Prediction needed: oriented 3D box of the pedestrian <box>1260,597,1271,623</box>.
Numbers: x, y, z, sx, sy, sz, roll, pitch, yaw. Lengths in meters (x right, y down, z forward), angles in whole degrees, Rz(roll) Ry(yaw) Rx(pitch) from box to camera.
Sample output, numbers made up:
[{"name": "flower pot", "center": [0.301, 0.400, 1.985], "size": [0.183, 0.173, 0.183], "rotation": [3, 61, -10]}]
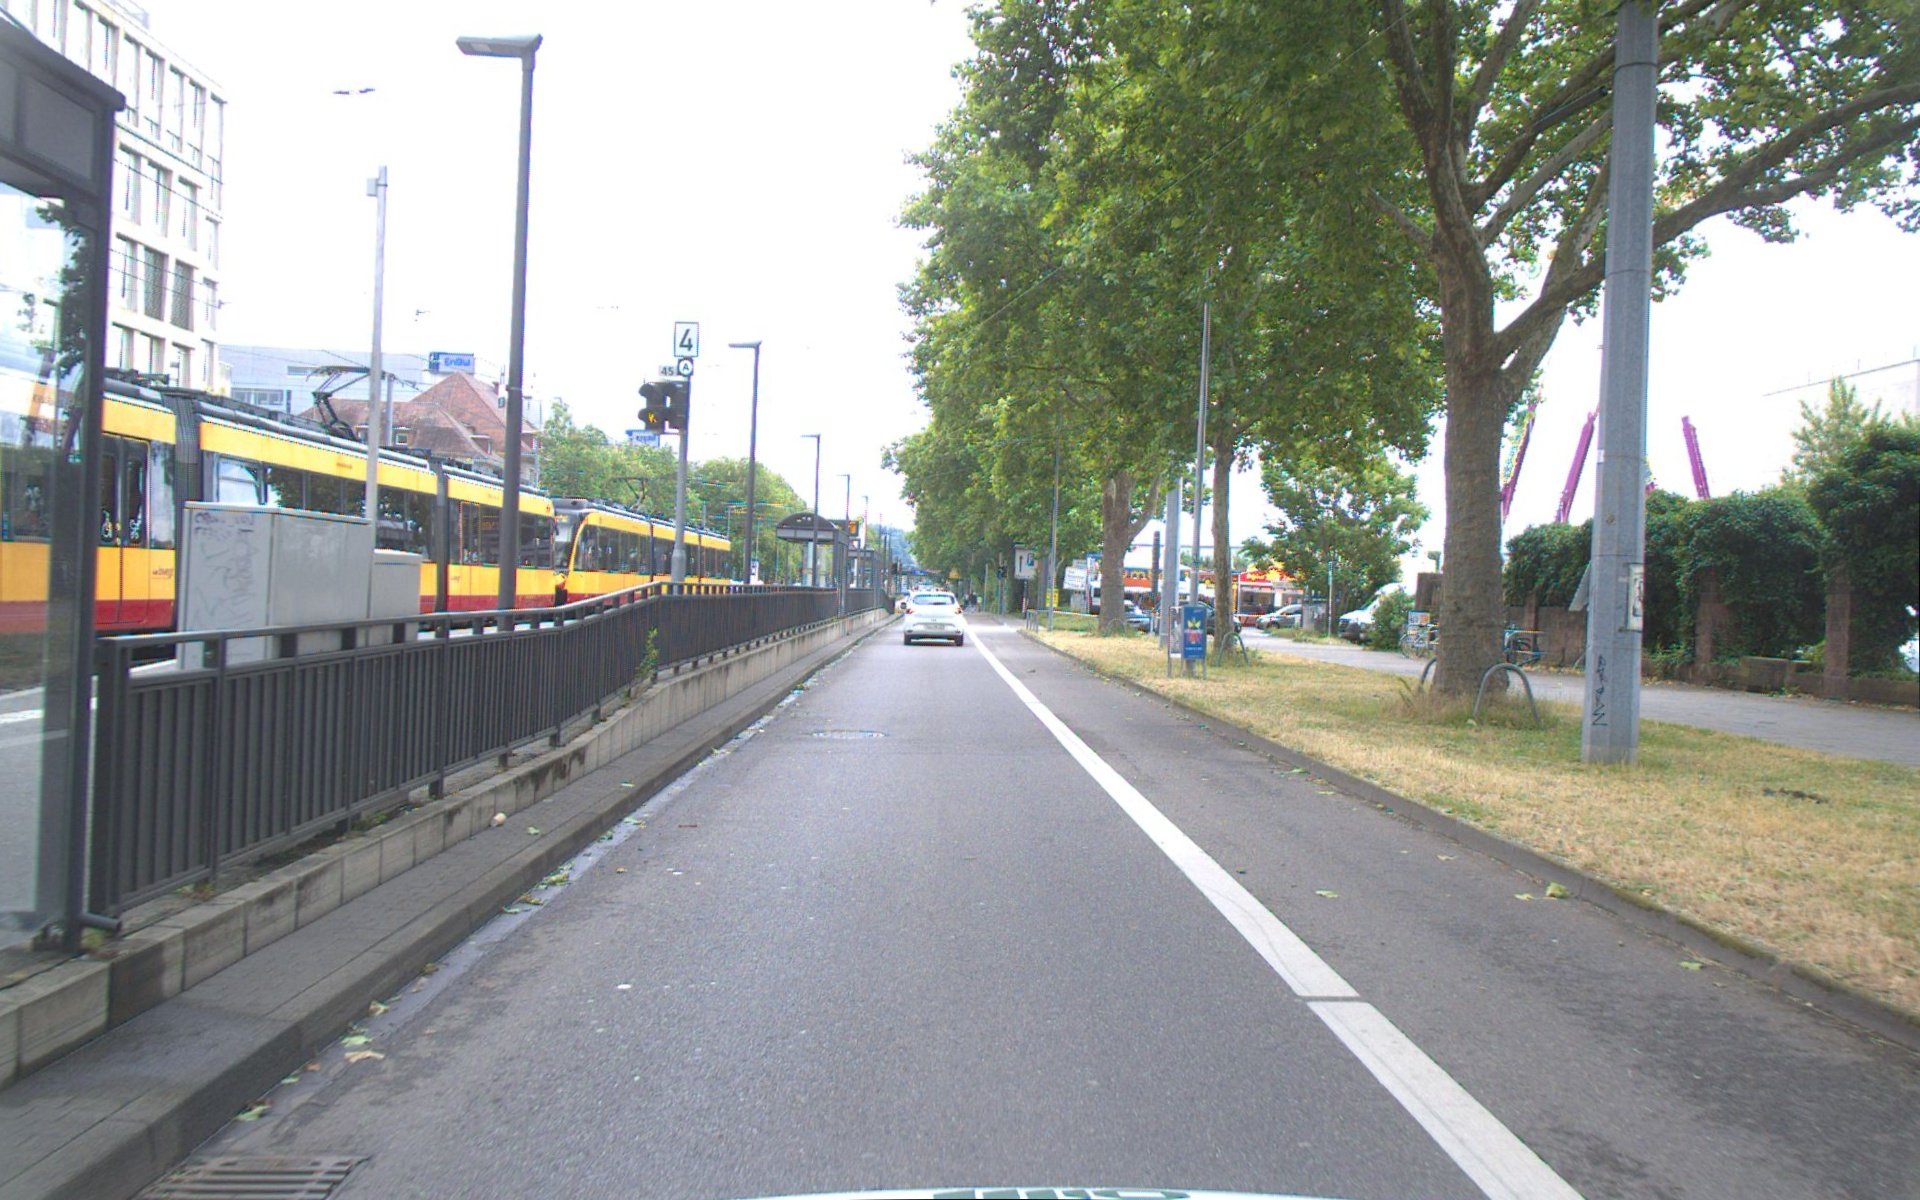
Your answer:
[{"name": "pedestrian", "center": [20.292, 0.646, 109.828], "size": [0.514, 1.716, 0.492], "rotation": [2, -1, -17]}]

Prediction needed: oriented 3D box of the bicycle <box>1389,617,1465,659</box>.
[{"name": "bicycle", "center": [12.531, 1.014, 44.392], "size": [1.883, 1.110, 0.549], "rotation": [1, 0, -3]}]

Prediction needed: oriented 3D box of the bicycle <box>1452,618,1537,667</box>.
[{"name": "bicycle", "center": [12.682, 1.003, 39.235], "size": [1.852, 1.124, 0.549], "rotation": [1, 0, -3]}]

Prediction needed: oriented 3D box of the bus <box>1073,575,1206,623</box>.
[{"name": "bus", "center": [12.642, -0.033, 116.749], "size": [9.094, 3.011, 1.998], "rotation": [2, -1, -4]}]

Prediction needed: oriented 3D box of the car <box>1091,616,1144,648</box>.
[{"name": "car", "center": [7.580, 1.531, 79.978], "size": [1.827, 1.455, 3.995], "rotation": [2, 0, -5]}]

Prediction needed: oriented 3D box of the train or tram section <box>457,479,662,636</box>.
[{"name": "train or tram section", "center": [-12.509, -1.135, 53.583], "size": [3.116, 4.252, 14.730], "rotation": [2, 0, -1]}]

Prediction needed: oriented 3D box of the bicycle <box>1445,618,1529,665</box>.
[{"name": "bicycle", "center": [12.680, 0.995, 39.815], "size": [1.862, 1.116, 0.549], "rotation": [1, 0, -3]}]

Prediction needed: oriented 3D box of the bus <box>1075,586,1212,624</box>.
[{"name": "bus", "center": [12.565, 0.373, 113.611], "size": [9.094, 2.266, 1.998], "rotation": [2, -1, -4]}]

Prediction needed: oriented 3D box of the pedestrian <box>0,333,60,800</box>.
[{"name": "pedestrian", "center": [-4.732, -0.157, 7.245], "size": [1.037, 2.049, 0.840], "rotation": [2, -1, -1]}]

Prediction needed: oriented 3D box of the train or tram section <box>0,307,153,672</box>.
[{"name": "train or tram section", "center": [-11.935, -1.256, 15.525], "size": [3.172, 3.929, 11.308], "rotation": [2, 0, -1]}]

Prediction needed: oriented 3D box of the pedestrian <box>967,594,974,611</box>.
[{"name": "pedestrian", "center": [0.893, 0.223, 140.713], "size": [0.387, 1.470, 0.564], "rotation": [2, -1, 12]}]

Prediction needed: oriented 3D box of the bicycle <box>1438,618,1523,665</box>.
[{"name": "bicycle", "center": [12.727, 1.004, 40.455], "size": [1.935, 1.114, 0.549], "rotation": [1, 0, -3]}]

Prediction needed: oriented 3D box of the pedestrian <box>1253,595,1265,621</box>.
[{"name": "pedestrian", "center": [19.787, 0.545, 109.459], "size": [0.514, 1.716, 0.492], "rotation": [2, -1, -17]}]

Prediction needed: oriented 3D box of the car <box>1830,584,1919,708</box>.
[{"name": "car", "center": [19.789, 0.992, 32.055], "size": [4.995, 2.304, 1.665], "rotation": [3, -1, -4]}]

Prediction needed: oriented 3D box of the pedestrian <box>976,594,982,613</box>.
[{"name": "pedestrian", "center": [1.640, 0.288, 140.757], "size": [0.387, 1.613, 0.538], "rotation": [2, -1, 11]}]

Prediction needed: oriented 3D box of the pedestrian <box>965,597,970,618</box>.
[{"name": "pedestrian", "center": [0.730, 0.749, 163.410], "size": [0.387, 2.049, 0.403], "rotation": [2, -1, 14]}]

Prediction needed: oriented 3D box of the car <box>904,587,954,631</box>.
[{"name": "car", "center": [-1.164, 0.341, 63.455], "size": [1.803, 1.579, 4.000], "rotation": [2, 0, 0]}]

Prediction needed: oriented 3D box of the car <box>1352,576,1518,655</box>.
[{"name": "car", "center": [18.219, 0.605, 63.637], "size": [5.669, 2.579, 2.039], "rotation": [4, -1, -2]}]

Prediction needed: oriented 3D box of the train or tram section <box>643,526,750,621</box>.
[{"name": "train or tram section", "center": [-12.979, -1.170, 82.996], "size": [3.116, 4.252, 14.730], "rotation": [2, 0, -1]}]

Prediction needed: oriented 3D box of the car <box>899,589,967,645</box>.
[{"name": "car", "center": [-0.775, 0.493, 48.416], "size": [1.847, 1.478, 3.999], "rotation": [2, 0, -1]}]

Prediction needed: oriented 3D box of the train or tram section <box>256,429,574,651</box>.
[{"name": "train or tram section", "center": [-12.309, -1.140, 39.363], "size": [3.116, 4.252, 13.617], "rotation": [2, 0, -1]}]

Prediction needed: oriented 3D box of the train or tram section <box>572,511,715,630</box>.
[{"name": "train or tram section", "center": [-12.752, -1.035, 68.321], "size": [3.116, 4.252, 14.730], "rotation": [2, 0, -1]}]

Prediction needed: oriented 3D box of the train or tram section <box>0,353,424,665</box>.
[{"name": "train or tram section", "center": [-12.078, -1.155, 26.840], "size": [3.099, 3.929, 11.308], "rotation": [2, 0, -1]}]

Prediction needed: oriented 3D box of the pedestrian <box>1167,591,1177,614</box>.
[{"name": "pedestrian", "center": [13.811, 0.162, 107.683], "size": [0.483, 1.488, 0.523], "rotation": [2, -1, -4]}]

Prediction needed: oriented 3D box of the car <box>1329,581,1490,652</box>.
[{"name": "car", "center": [18.191, 0.672, 67.060], "size": [5.903, 2.600, 2.099], "rotation": [2, -1, -3]}]
